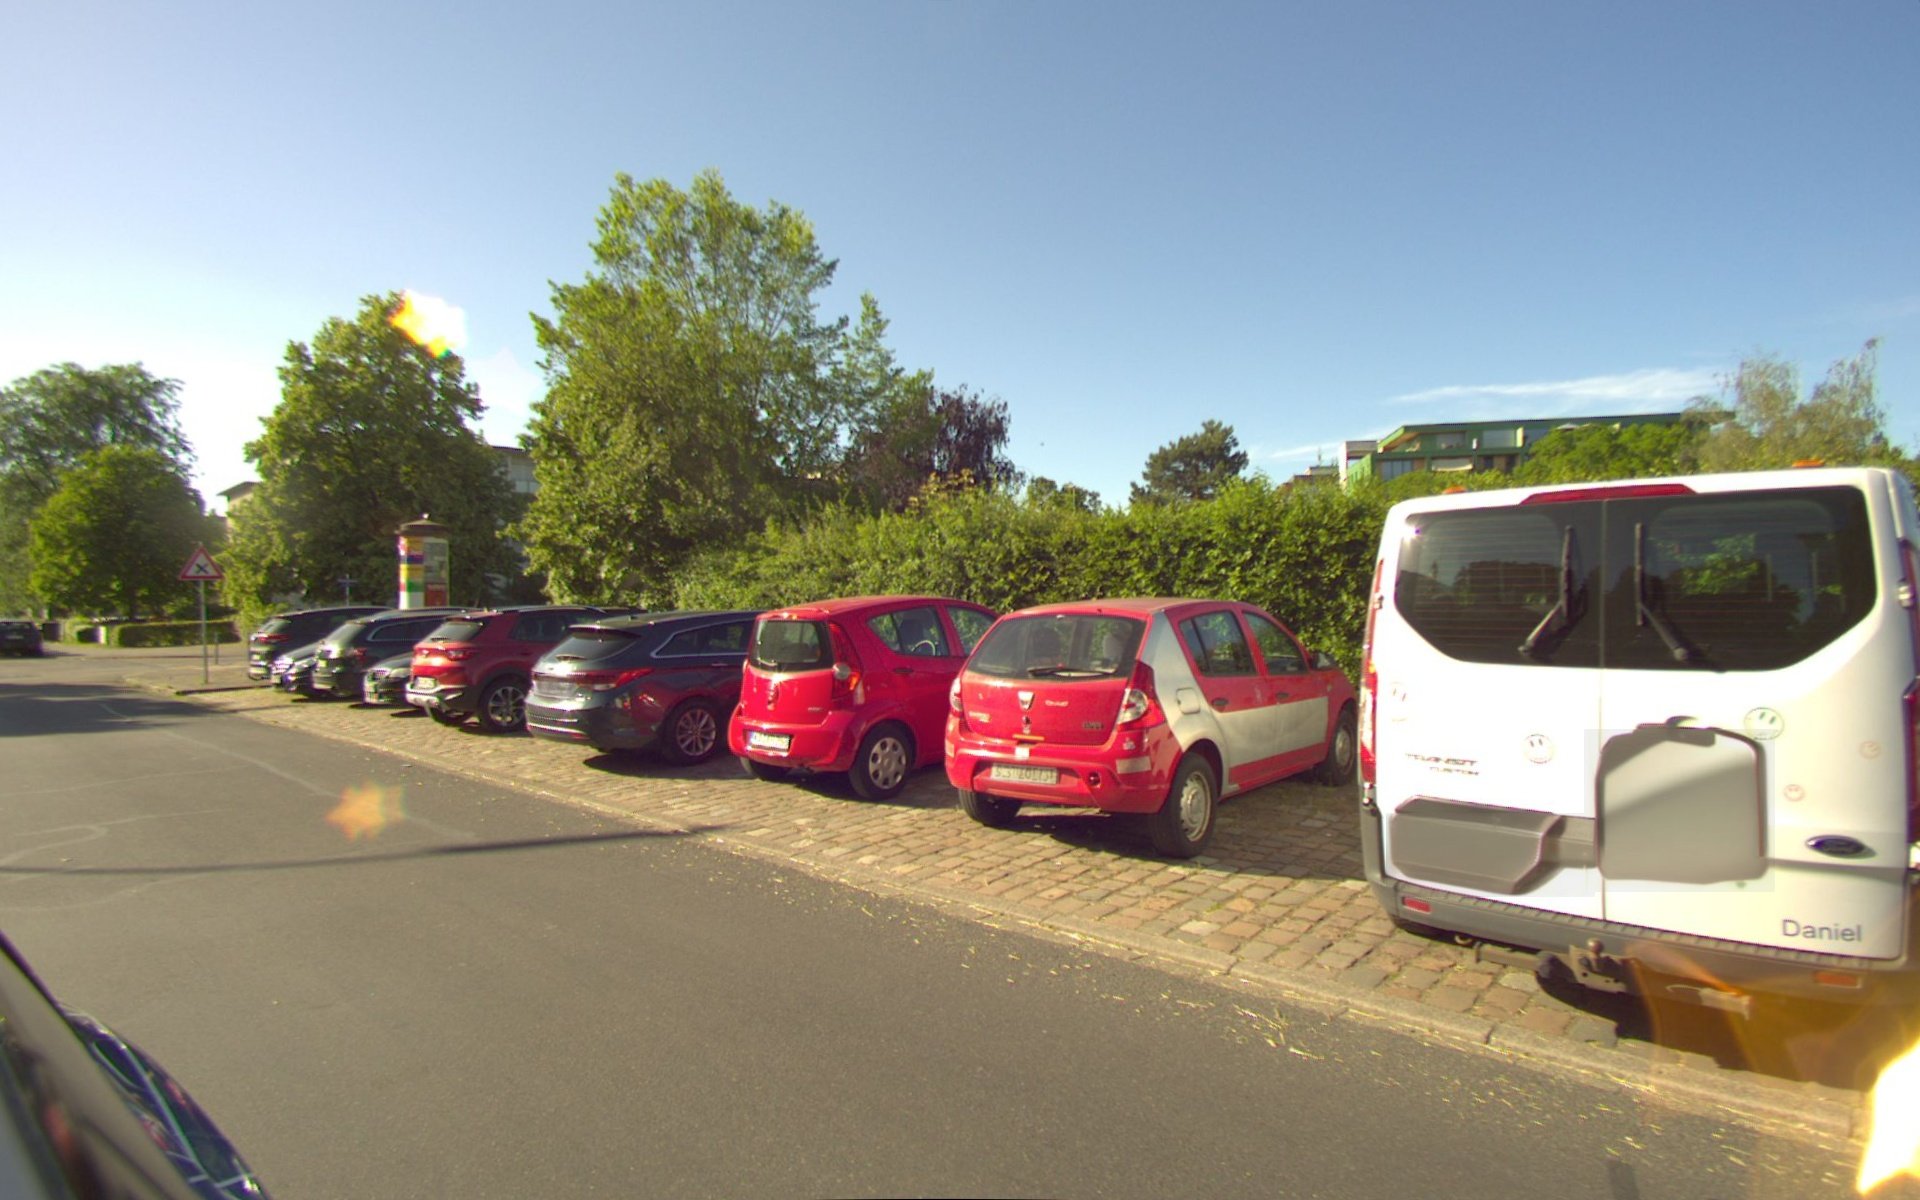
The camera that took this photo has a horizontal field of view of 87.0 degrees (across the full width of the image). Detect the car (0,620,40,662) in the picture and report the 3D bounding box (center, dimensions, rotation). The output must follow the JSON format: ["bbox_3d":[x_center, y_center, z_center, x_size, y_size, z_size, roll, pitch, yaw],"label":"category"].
[{"bbox_3d":[-38.483,1.656,40.743,4.424,1.586,1.760,-2,-1,43],"label":"car"}]

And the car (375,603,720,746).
[{"bbox_3d":[-5.447,0.887,13.775,1.788,1.490,3.949,-2,1,38],"label":"car"}]

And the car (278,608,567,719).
[{"bbox_3d":[-9.221,0.985,17.615,1.811,1.524,4.050,-1,2,41],"label":"car"}]

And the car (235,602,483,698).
[{"bbox_3d":[-12.703,0.975,21.585,1.845,1.668,4.144,-1,2,40],"label":"car"}]

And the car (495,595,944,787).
[{"bbox_3d":[-2.372,0.798,10.970,1.747,1.490,4.495,-2,1,42],"label":"car"}]

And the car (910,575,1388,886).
[{"bbox_3d":[1.550,0.684,7.322,1.851,1.579,3.566,-2,1,40],"label":"car"}]

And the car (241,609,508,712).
[{"bbox_3d":[-10.909,1.041,19.072,1.831,1.544,3.946,-1,2,41],"label":"car"}]

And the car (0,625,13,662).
[{"bbox_3d":[-45.838,2.025,47.496,3.648,1.695,1.793,-2,-3,43],"label":"car"}]

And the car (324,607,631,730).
[{"bbox_3d":[-7.557,0.968,16.135,1.905,1.524,3.977,-1,2,41],"label":"car"}]

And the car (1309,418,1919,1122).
[{"bbox_3d":[3.488,0.408,5.052,1.997,1.991,4.438,-1,2,37],"label":"car"}]

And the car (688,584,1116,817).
[{"bbox_3d":[-0.386,0.725,9.238,1.881,1.579,3.563,-2,1,43],"label":"car"}]
